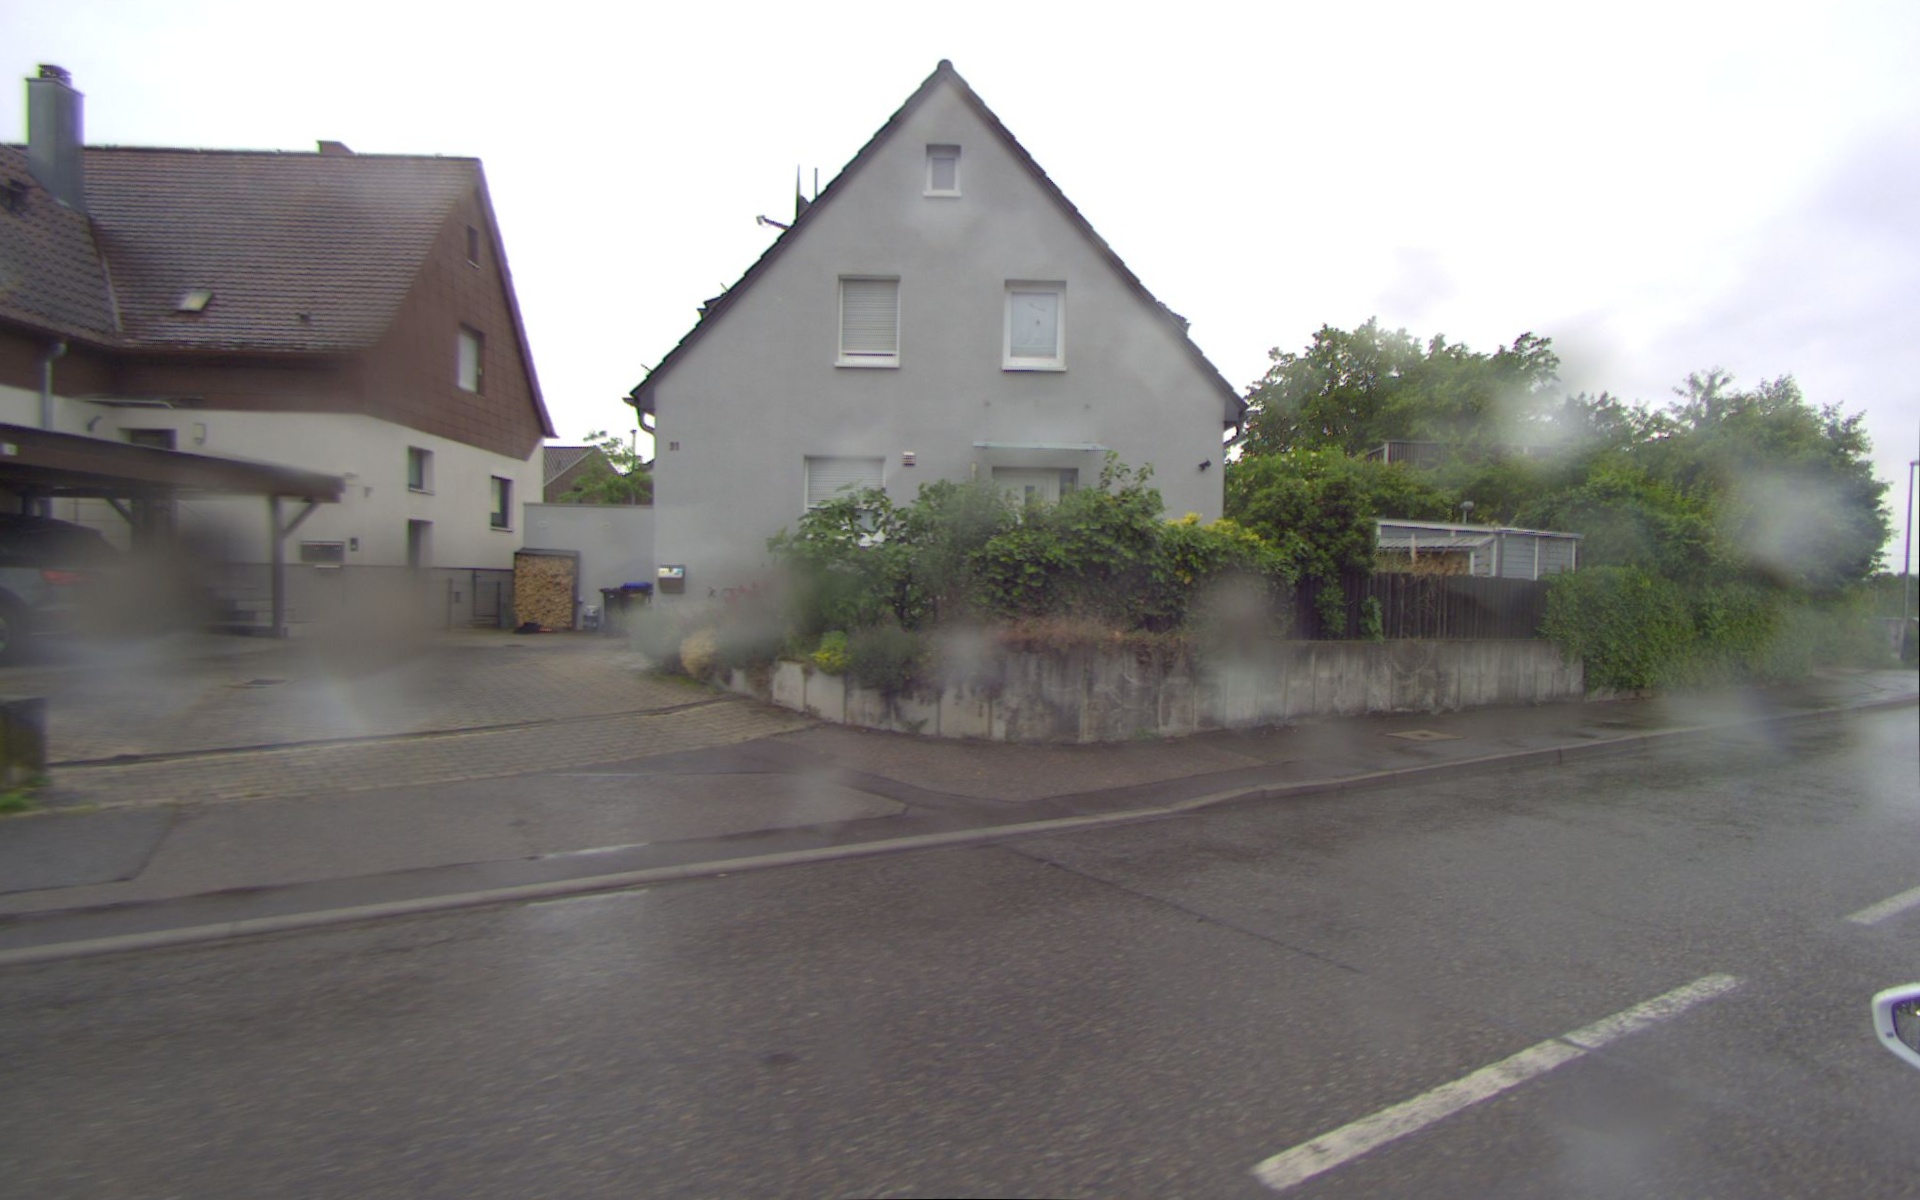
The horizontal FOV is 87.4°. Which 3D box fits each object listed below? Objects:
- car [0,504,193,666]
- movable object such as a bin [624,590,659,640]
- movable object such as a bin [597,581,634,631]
[{"bbox_3d":[-11.581,-0.289,11.480,3.927,1.683,1.997,4,1,-8],"label":"car"},{"bbox_3d":[-6.641,0.302,20.974,0.535,1.028,0.494,1,1,6],"label":"movable object such as a bin"},{"bbox_3d":[-7.248,0.124,21.161,0.565,1.028,0.528,1,1,5],"label":"movable object such as a bin"}]
